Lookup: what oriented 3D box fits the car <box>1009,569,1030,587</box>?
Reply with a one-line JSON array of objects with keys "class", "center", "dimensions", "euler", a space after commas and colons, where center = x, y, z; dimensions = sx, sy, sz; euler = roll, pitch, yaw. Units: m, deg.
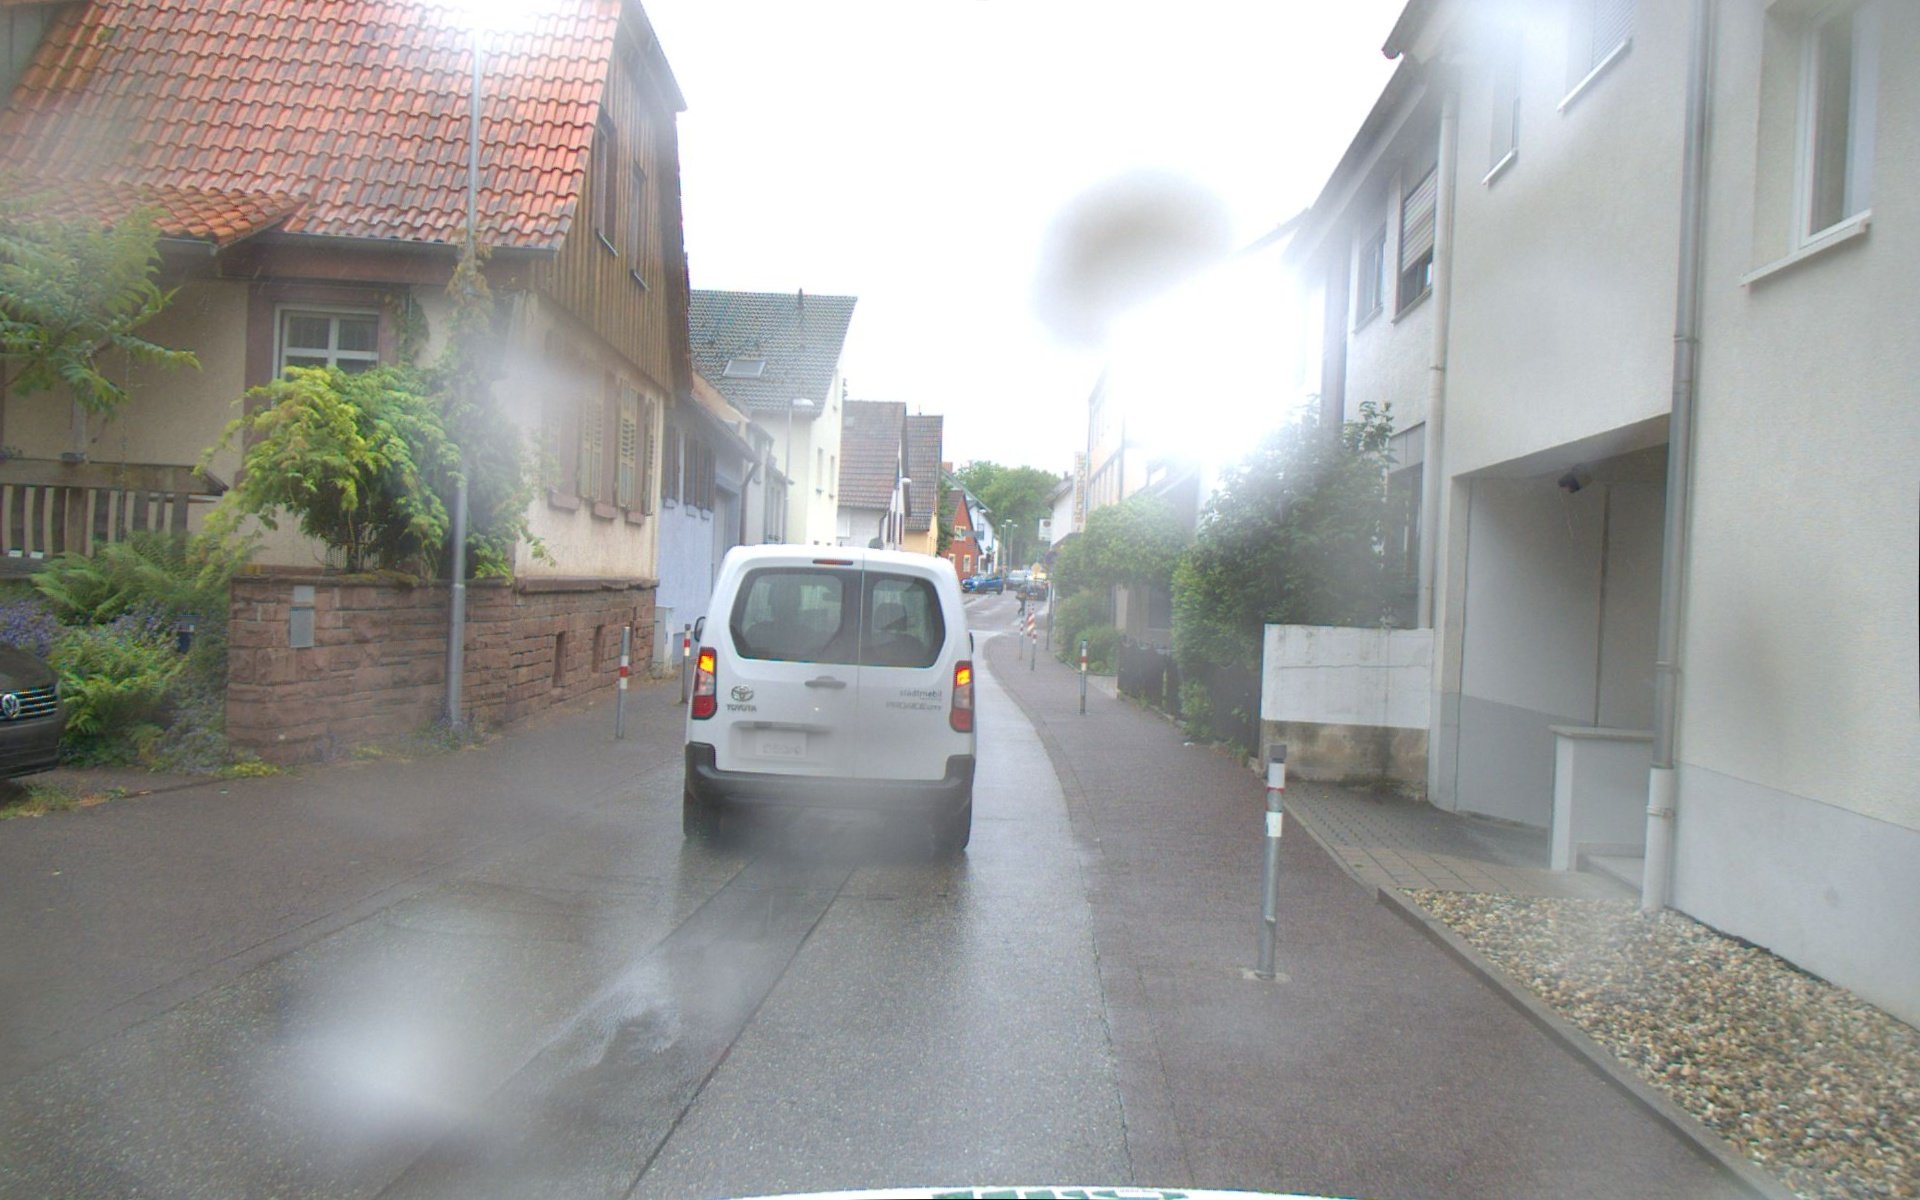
[{"class": "car", "center": [5.484, -2.011, 151.862], "dimensions": [1.555, 1.466, 3.769], "euler": [4, 0, 7]}]

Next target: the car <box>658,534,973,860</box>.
[{"class": "car", "center": [-1.019, 0.552, 11.348], "dimensions": [1.741, 1.811, 3.995], "euler": [1, 0, -6]}]

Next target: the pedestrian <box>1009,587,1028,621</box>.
[{"class": "pedestrian", "center": [3.389, 0.237, 95.180], "dimensions": [1.029, 1.926, 0.877], "euler": [1, 0, 0]}]

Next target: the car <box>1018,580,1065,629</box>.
[{"class": "car", "center": [3.545, 0.197, 71.825], "dimensions": [1.952, 2.049, 4.002], "euler": [1, 0, 3]}]

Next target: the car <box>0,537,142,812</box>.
[{"class": "car", "center": [-7.094, 0.197, 9.461], "dimensions": [3.905, 1.449, 1.737], "euler": [7, 0, 8]}]

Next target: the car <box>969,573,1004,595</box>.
[{"class": "car", "center": [2.076, -1.293, 129.987], "dimensions": [1.951, 1.586, 3.435], "euler": [0, 2, 15]}]
